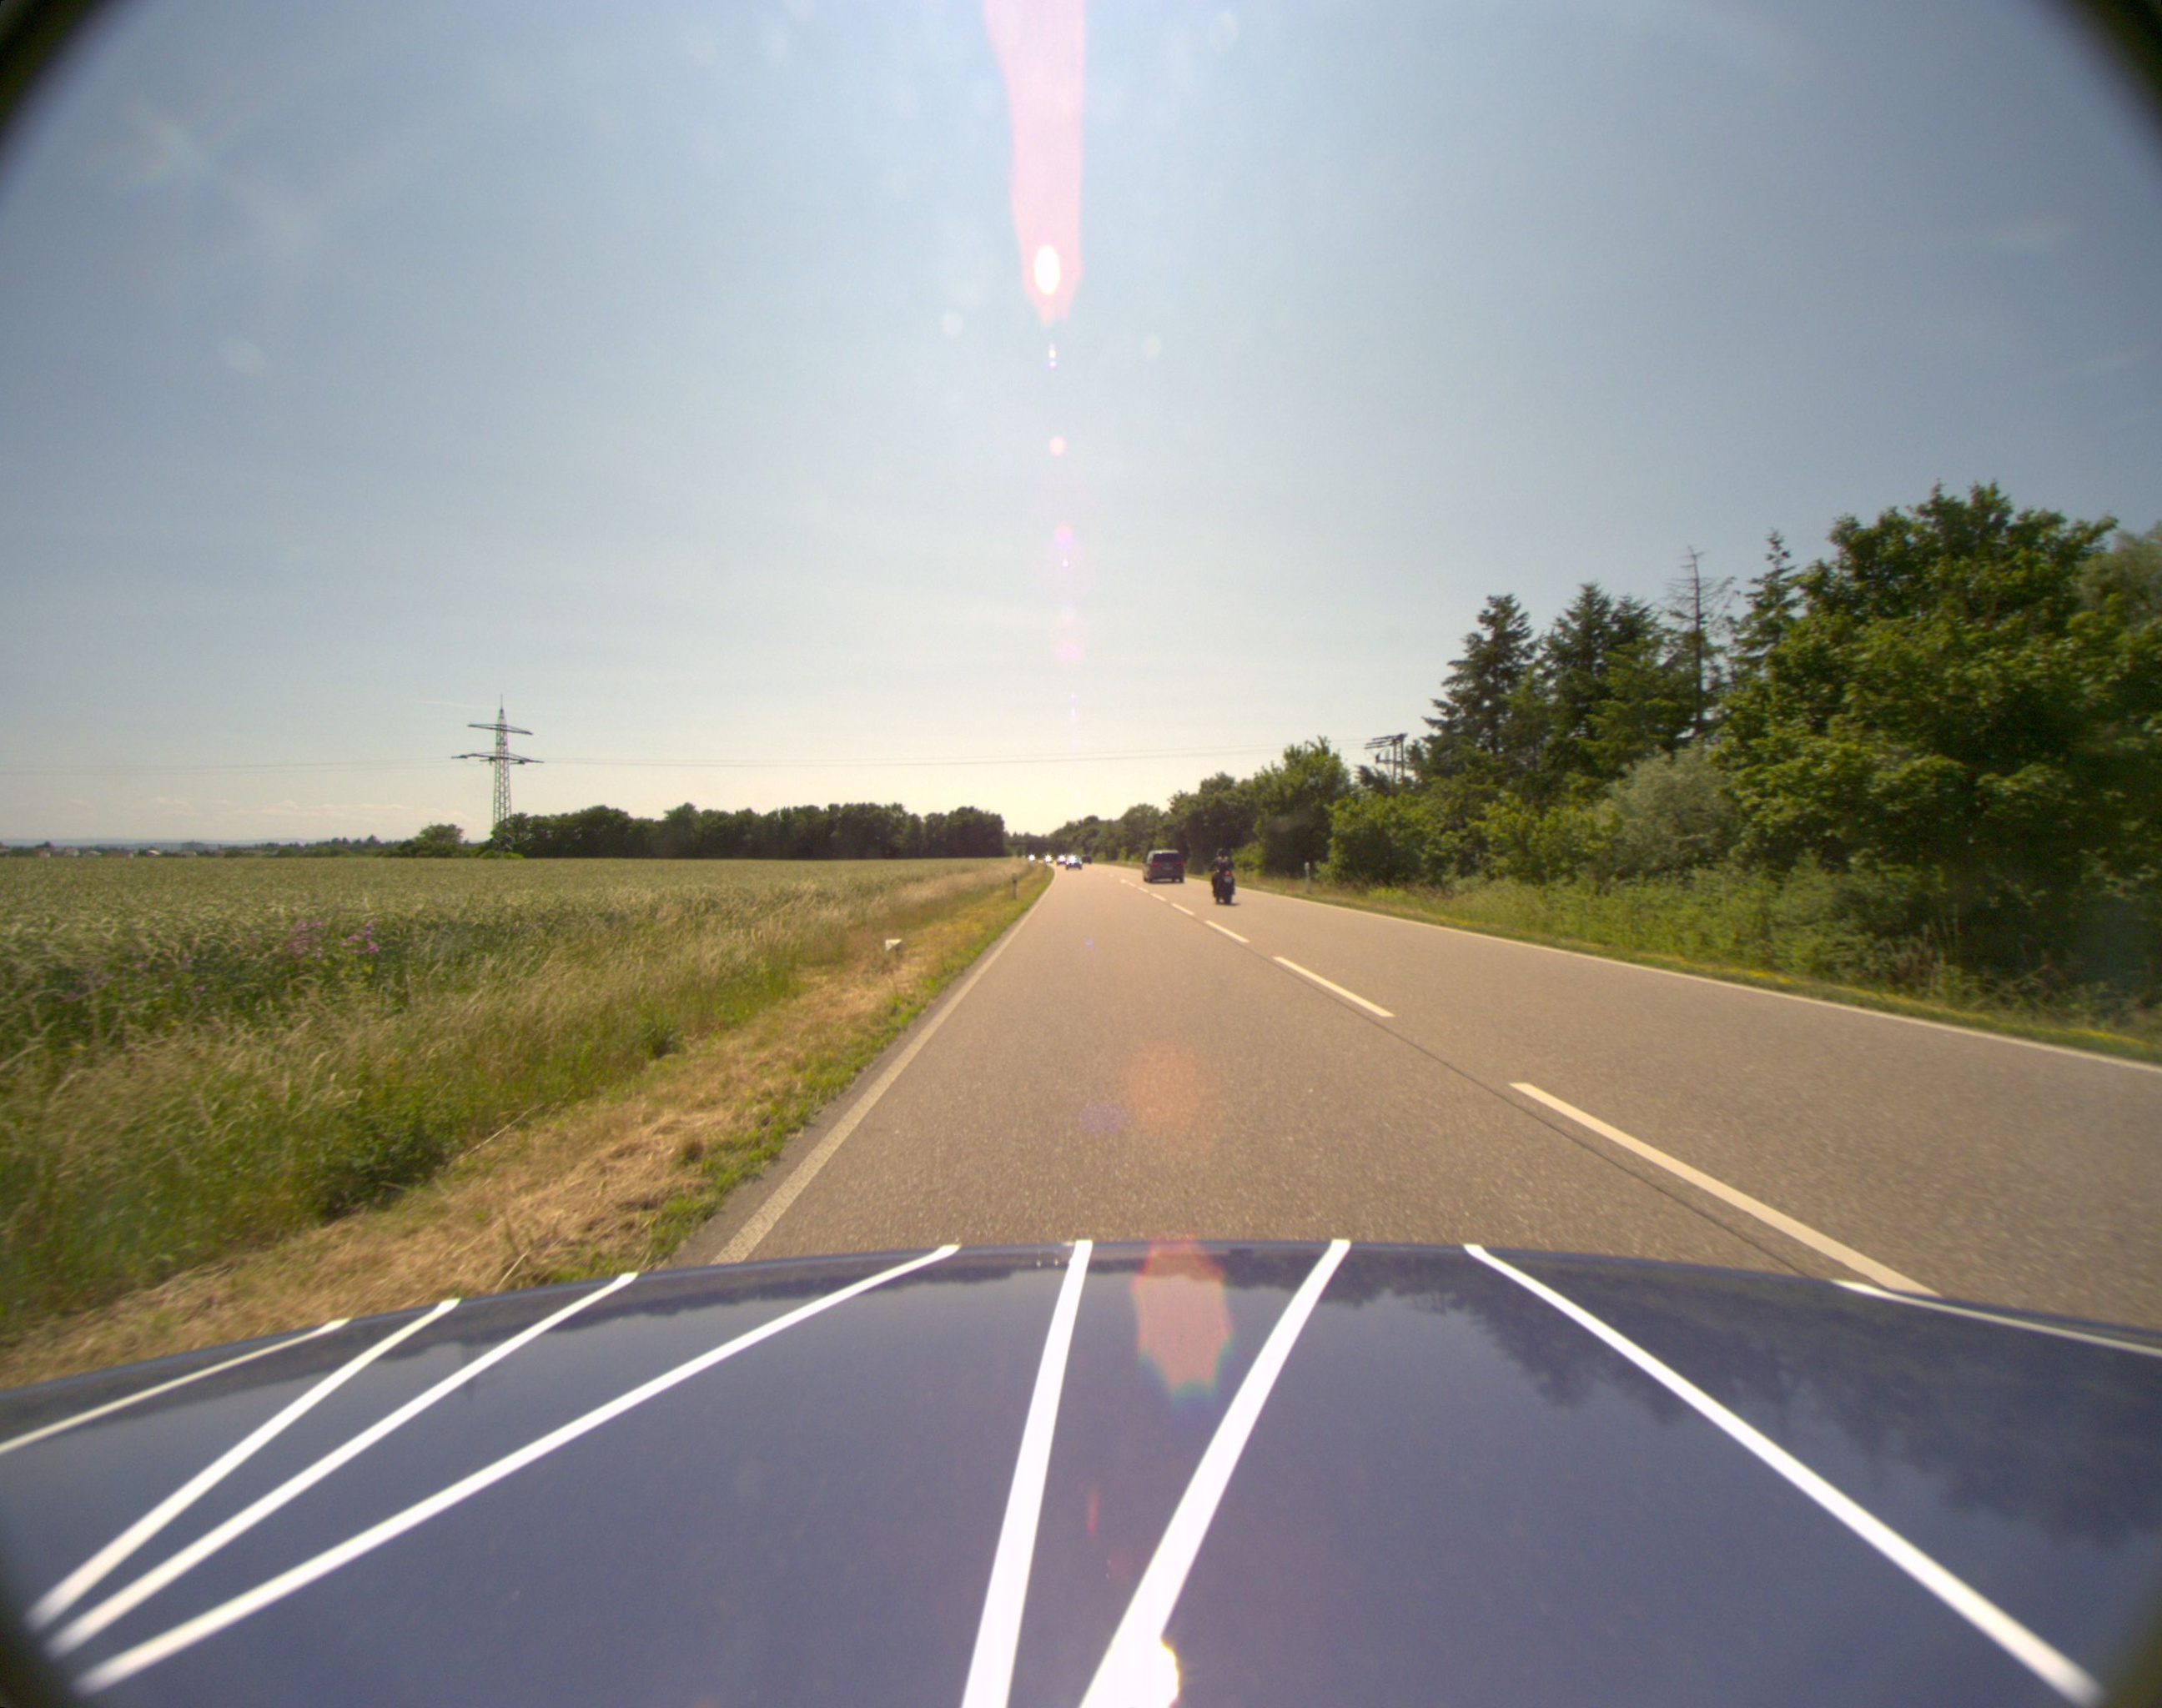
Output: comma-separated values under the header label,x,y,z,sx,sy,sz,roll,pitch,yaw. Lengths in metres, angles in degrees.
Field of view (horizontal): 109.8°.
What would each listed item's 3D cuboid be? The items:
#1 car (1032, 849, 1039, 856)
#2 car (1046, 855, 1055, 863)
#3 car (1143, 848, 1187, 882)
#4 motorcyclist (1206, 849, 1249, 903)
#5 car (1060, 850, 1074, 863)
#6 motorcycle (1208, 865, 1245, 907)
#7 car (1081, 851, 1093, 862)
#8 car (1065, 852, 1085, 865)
label,x,y,z,sx,sy,sz,roll,pitch,yaw
car,-13.876,-0.420,229.572,1.999,2.002,3.998,1,0,-5
car,-6.584,1.005,164.191,1.554,1.659,3.997,-2,1,-5
car,4.474,0.544,41.260,1.823,1.691,5.001,-1,0,0
motorcyclist,4.210,0.610,21.983,0.837,1.466,1.817,-1,1,-1
car,-2.249,0.349,121.413,1.999,2.002,3.998,-3,0,-4
motorcycle,4.176,0.908,21.974,0.618,1.102,2.022,-1,0,-2
car,1.013,0.402,122.248,1.703,1.557,3.670,-3,0,-2
car,-0.717,0.477,84.687,1.694,1.431,3.707,-2,0,-8
